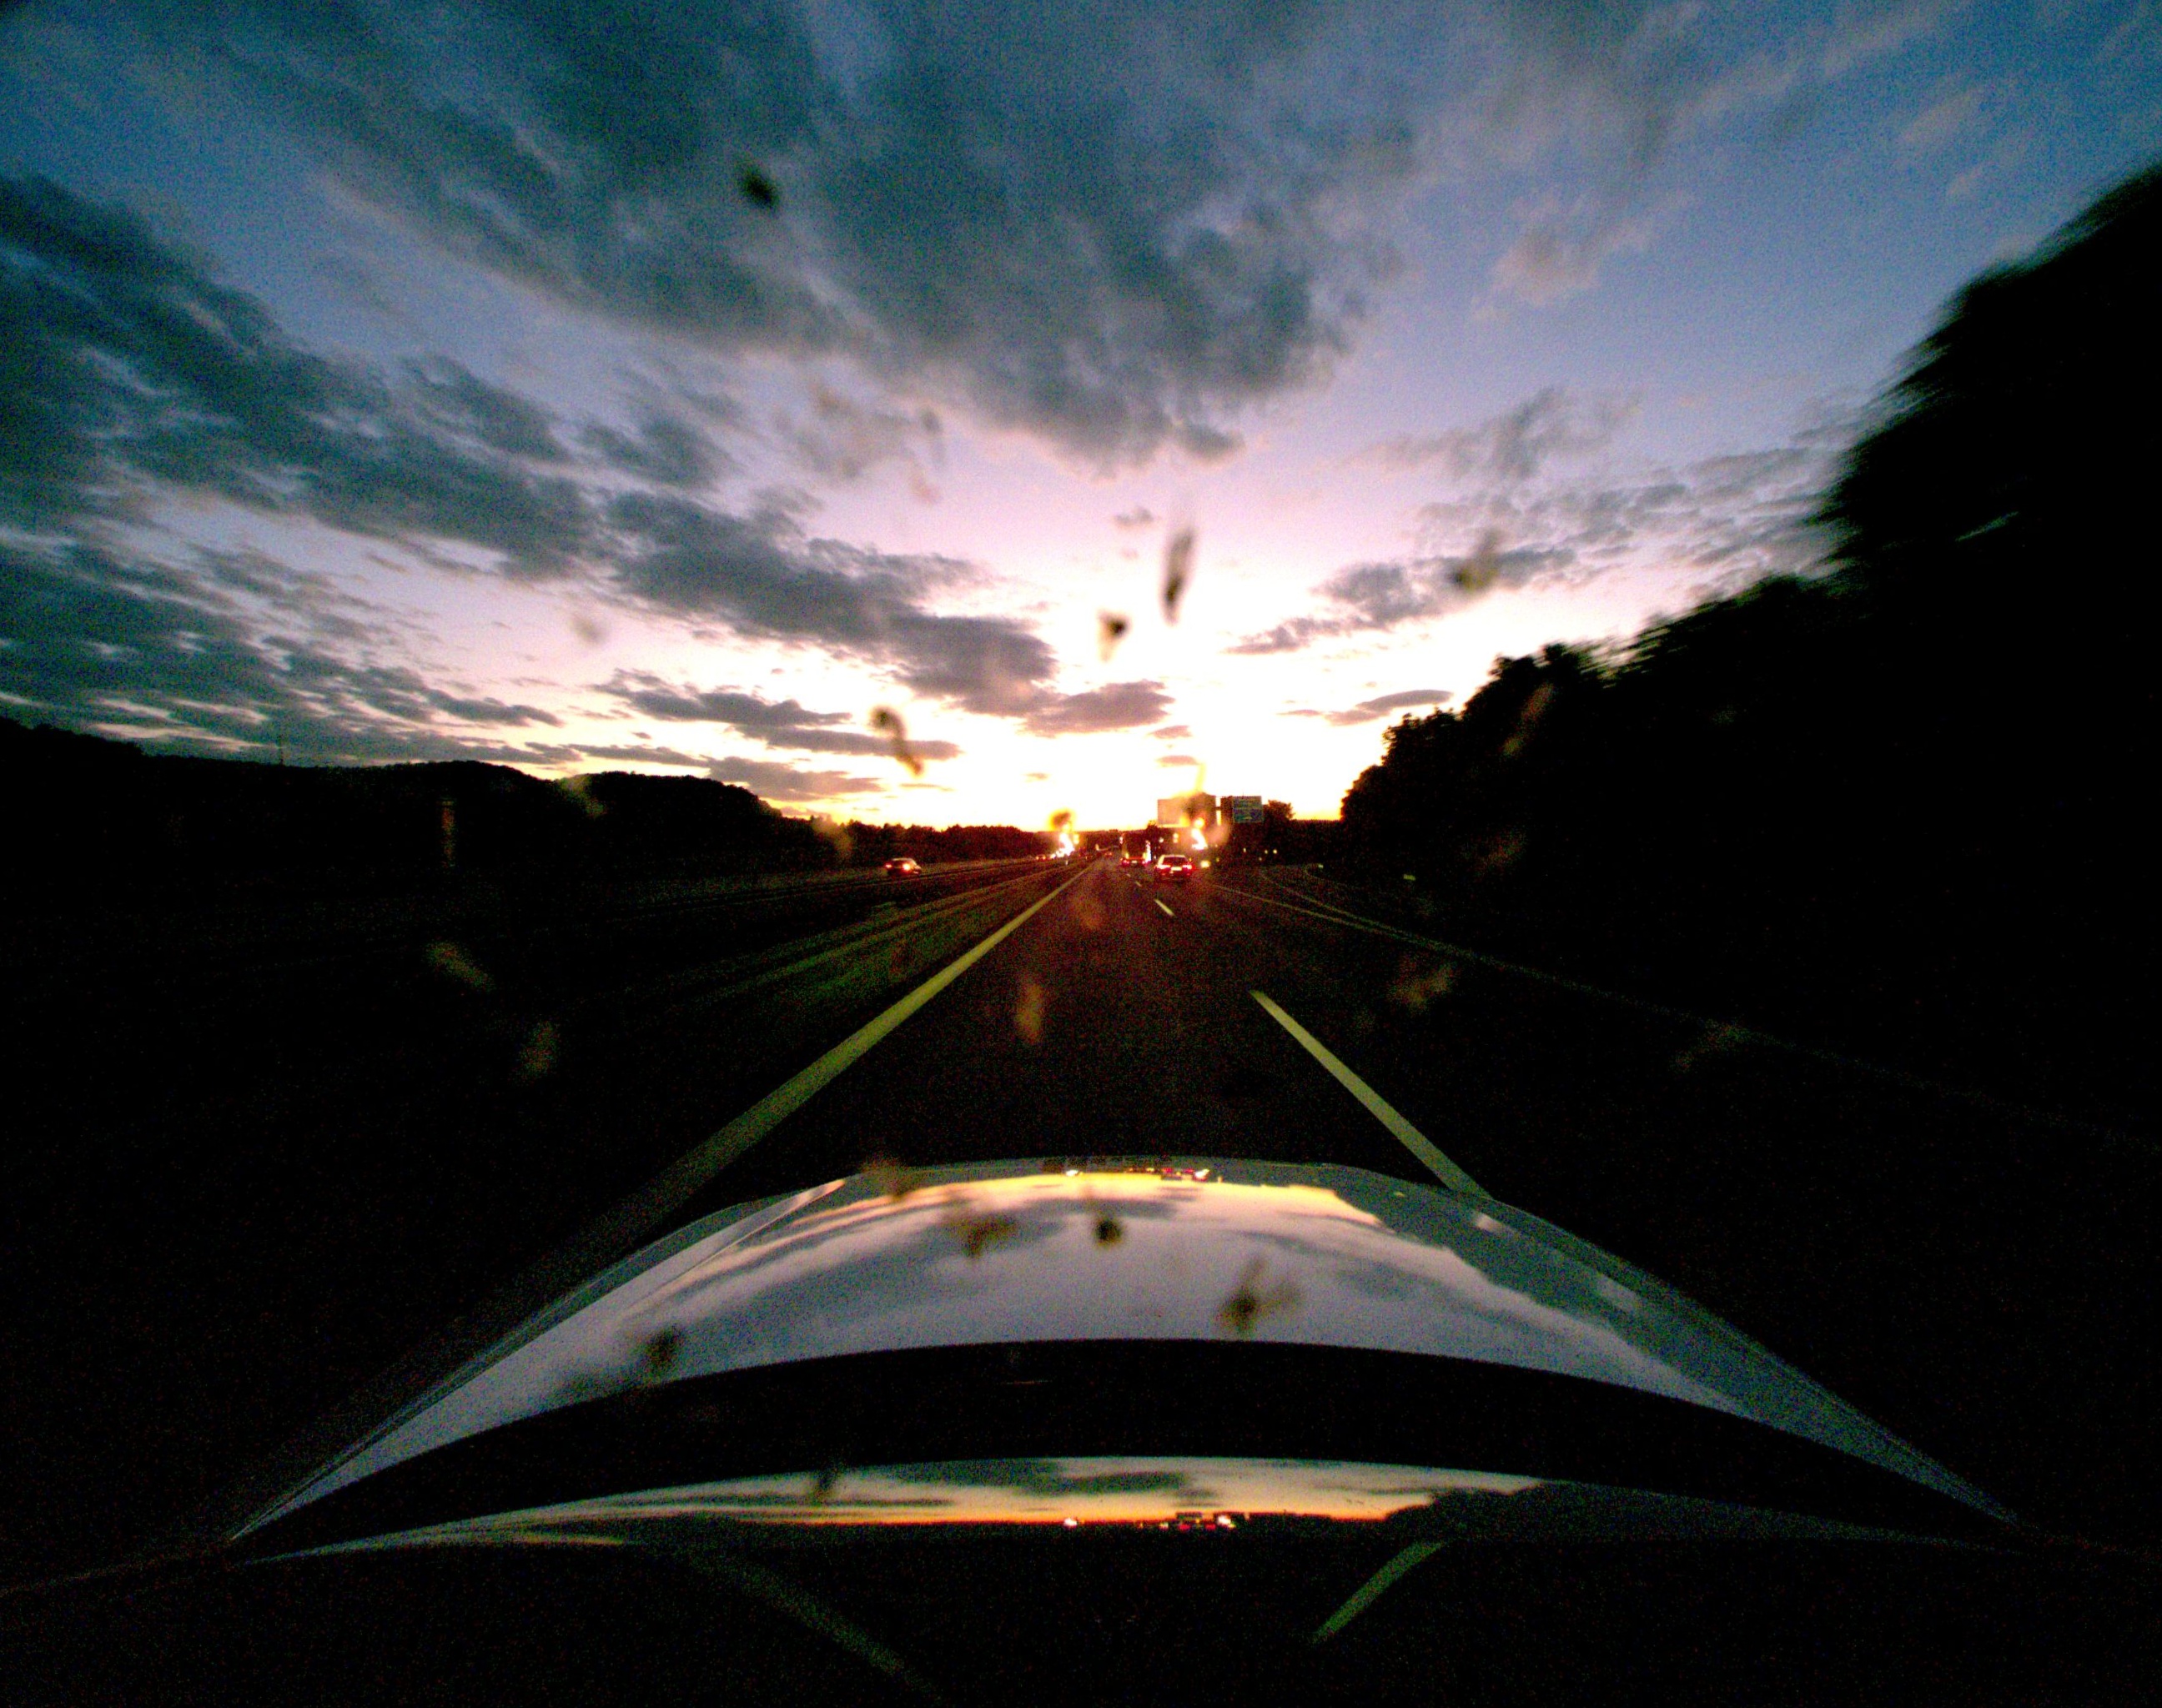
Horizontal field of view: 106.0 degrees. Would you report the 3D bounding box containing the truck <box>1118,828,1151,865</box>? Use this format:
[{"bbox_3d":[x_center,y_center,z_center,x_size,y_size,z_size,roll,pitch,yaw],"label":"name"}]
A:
[{"bbox_3d":[6.587,-0.847,101.539,3.497,4.301,9.894,-3,0,1],"label":"truck"}]

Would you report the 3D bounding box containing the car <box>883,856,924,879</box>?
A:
[{"bbox_3d":[-13.073,0.969,60.286,1.865,1.561,4.521,-3,0,1],"label":"car"}]

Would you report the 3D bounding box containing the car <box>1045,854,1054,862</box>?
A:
[{"bbox_3d":[-7.189,0.921,186.084,1.632,1.546,3.396,-3,0,2],"label":"car"}]

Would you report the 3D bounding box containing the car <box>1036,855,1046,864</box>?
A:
[{"bbox_3d":[-7.676,1.004,156.291,1.706,1.605,3.723,-3,0,2],"label":"car"}]

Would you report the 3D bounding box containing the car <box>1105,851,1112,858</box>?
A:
[{"bbox_3d":[8.208,0.104,244.652,1.986,2.013,4.001,-3,0,2],"label":"car"}]

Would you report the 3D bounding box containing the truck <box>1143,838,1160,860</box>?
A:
[{"bbox_3d":[13.274,-0.965,153.833,2.777,4.058,6.413,-1,0,1],"label":"truck"}]

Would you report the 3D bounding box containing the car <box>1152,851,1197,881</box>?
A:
[{"bbox_3d":[4.965,0.642,43.693,1.909,1.442,4.000,-3,0,0],"label":"car"}]
